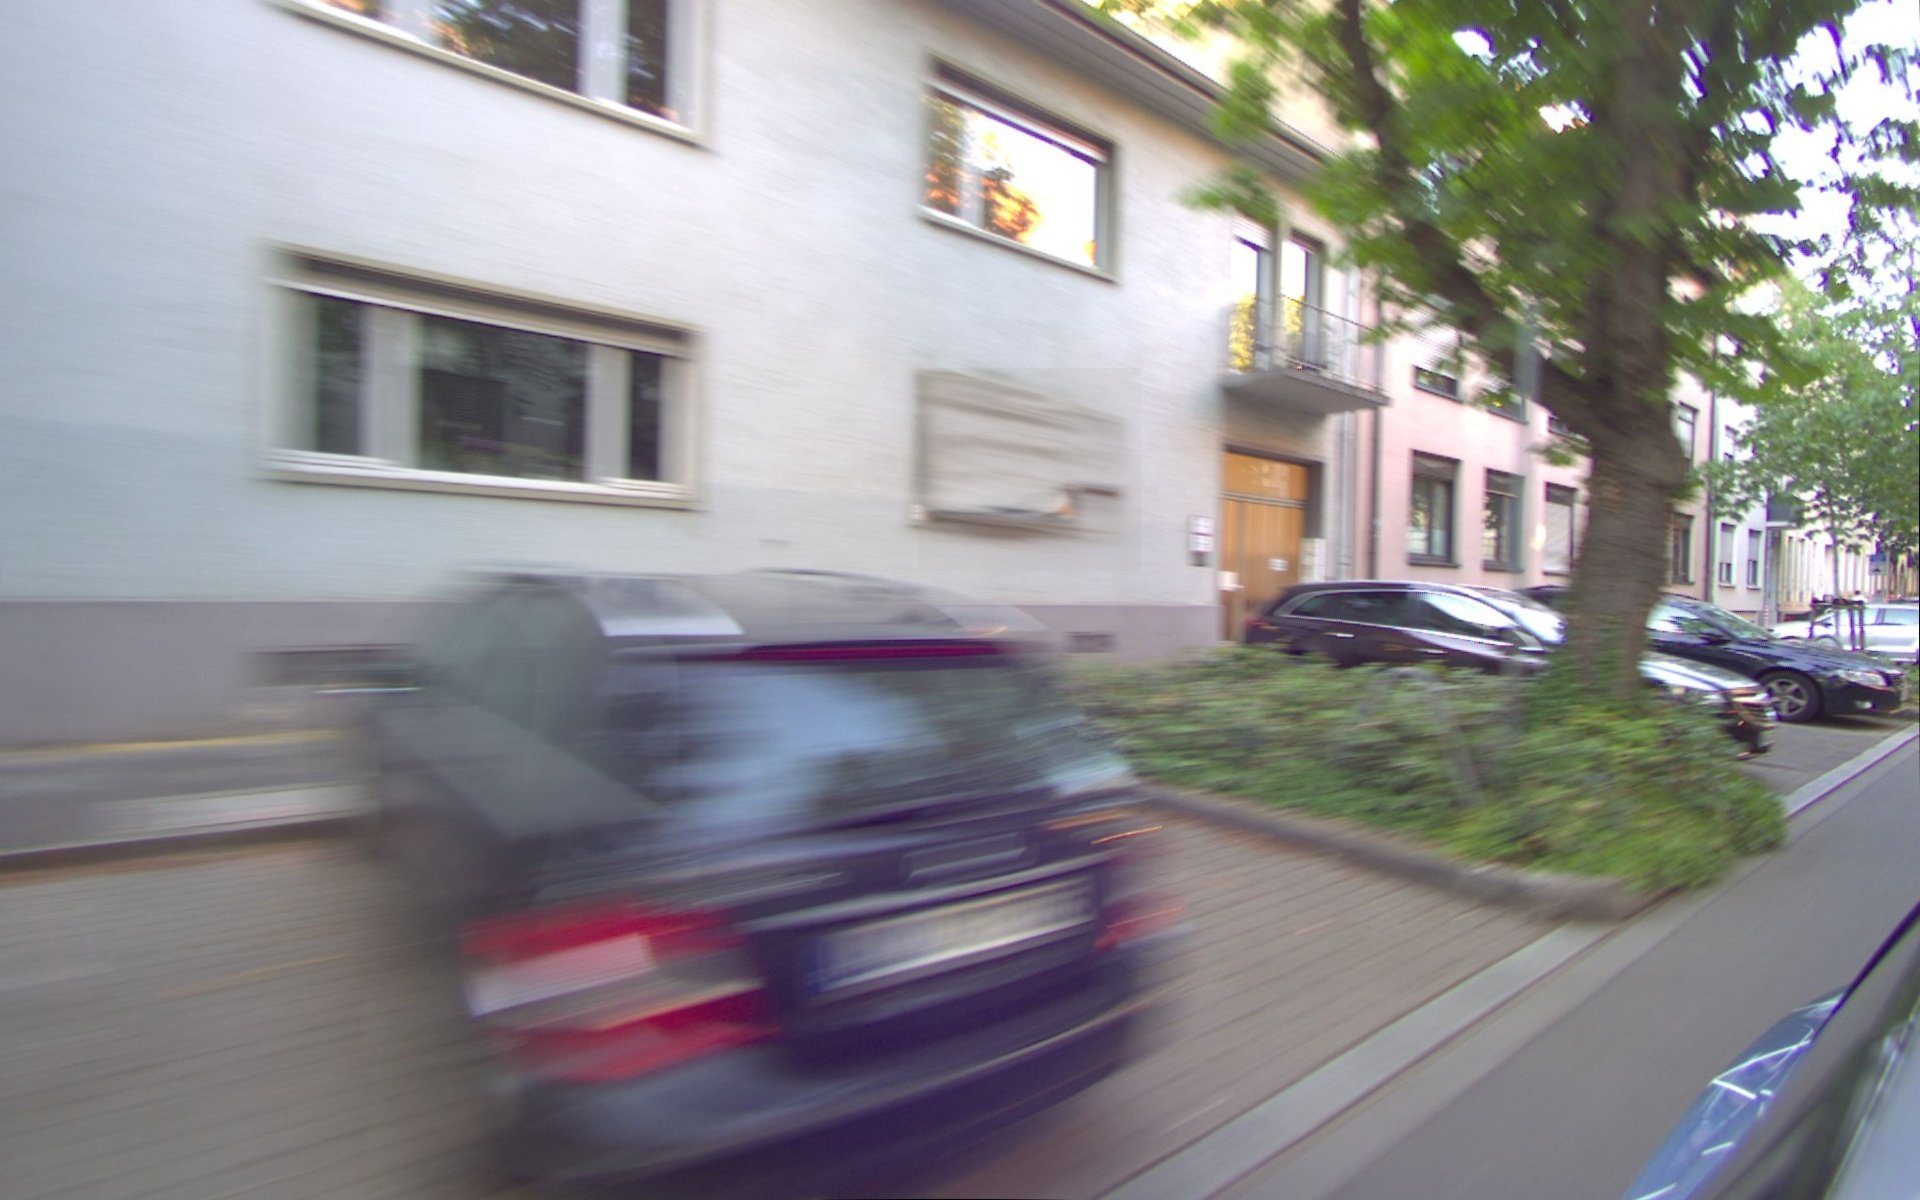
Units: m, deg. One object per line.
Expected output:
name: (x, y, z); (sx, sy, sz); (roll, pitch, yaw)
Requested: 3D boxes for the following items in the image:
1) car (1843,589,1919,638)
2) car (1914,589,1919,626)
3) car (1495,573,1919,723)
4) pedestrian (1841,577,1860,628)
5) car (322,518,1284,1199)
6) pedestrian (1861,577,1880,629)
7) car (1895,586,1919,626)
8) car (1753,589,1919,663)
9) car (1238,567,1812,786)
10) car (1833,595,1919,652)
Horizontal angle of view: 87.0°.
car: (29.925, 0.468, 31.179); (1.645, 1.415, 3.859); (0, 3, -40)
car: (38.249, 0.405, 37.612); (1.645, 1.415, 3.859); (0, 3, -40)
car: (10.047, 0.500, 13.750); (1.665, 1.487, 4.597); (0, 4, -38)
pedestrian: (35.887, 0.103, 40.797); (0.476, 2.038, 0.449); (0, 2, -40)
car: (-1.208, 0.523, 3.726); (1.698, 1.487, 4.375); (1, 4, -35)
pedestrian: (36.380, 0.125, 40.429); (0.476, 2.038, 0.449); (0, 2, -40)
car: (36.514, 0.309, 36.494); (1.645, 1.415, 3.859); (0, 3, -40)
car: (20.314, 0.574, 22.618); (1.647, 1.415, 3.854); (0, 4, -43)
car: (5.157, 0.509, 9.820); (1.917, 1.542, 4.457); (0, 2, -39)
car: (26.494, 0.687, 27.506); (1.644, 1.415, 3.862); (1, 3, -37)
